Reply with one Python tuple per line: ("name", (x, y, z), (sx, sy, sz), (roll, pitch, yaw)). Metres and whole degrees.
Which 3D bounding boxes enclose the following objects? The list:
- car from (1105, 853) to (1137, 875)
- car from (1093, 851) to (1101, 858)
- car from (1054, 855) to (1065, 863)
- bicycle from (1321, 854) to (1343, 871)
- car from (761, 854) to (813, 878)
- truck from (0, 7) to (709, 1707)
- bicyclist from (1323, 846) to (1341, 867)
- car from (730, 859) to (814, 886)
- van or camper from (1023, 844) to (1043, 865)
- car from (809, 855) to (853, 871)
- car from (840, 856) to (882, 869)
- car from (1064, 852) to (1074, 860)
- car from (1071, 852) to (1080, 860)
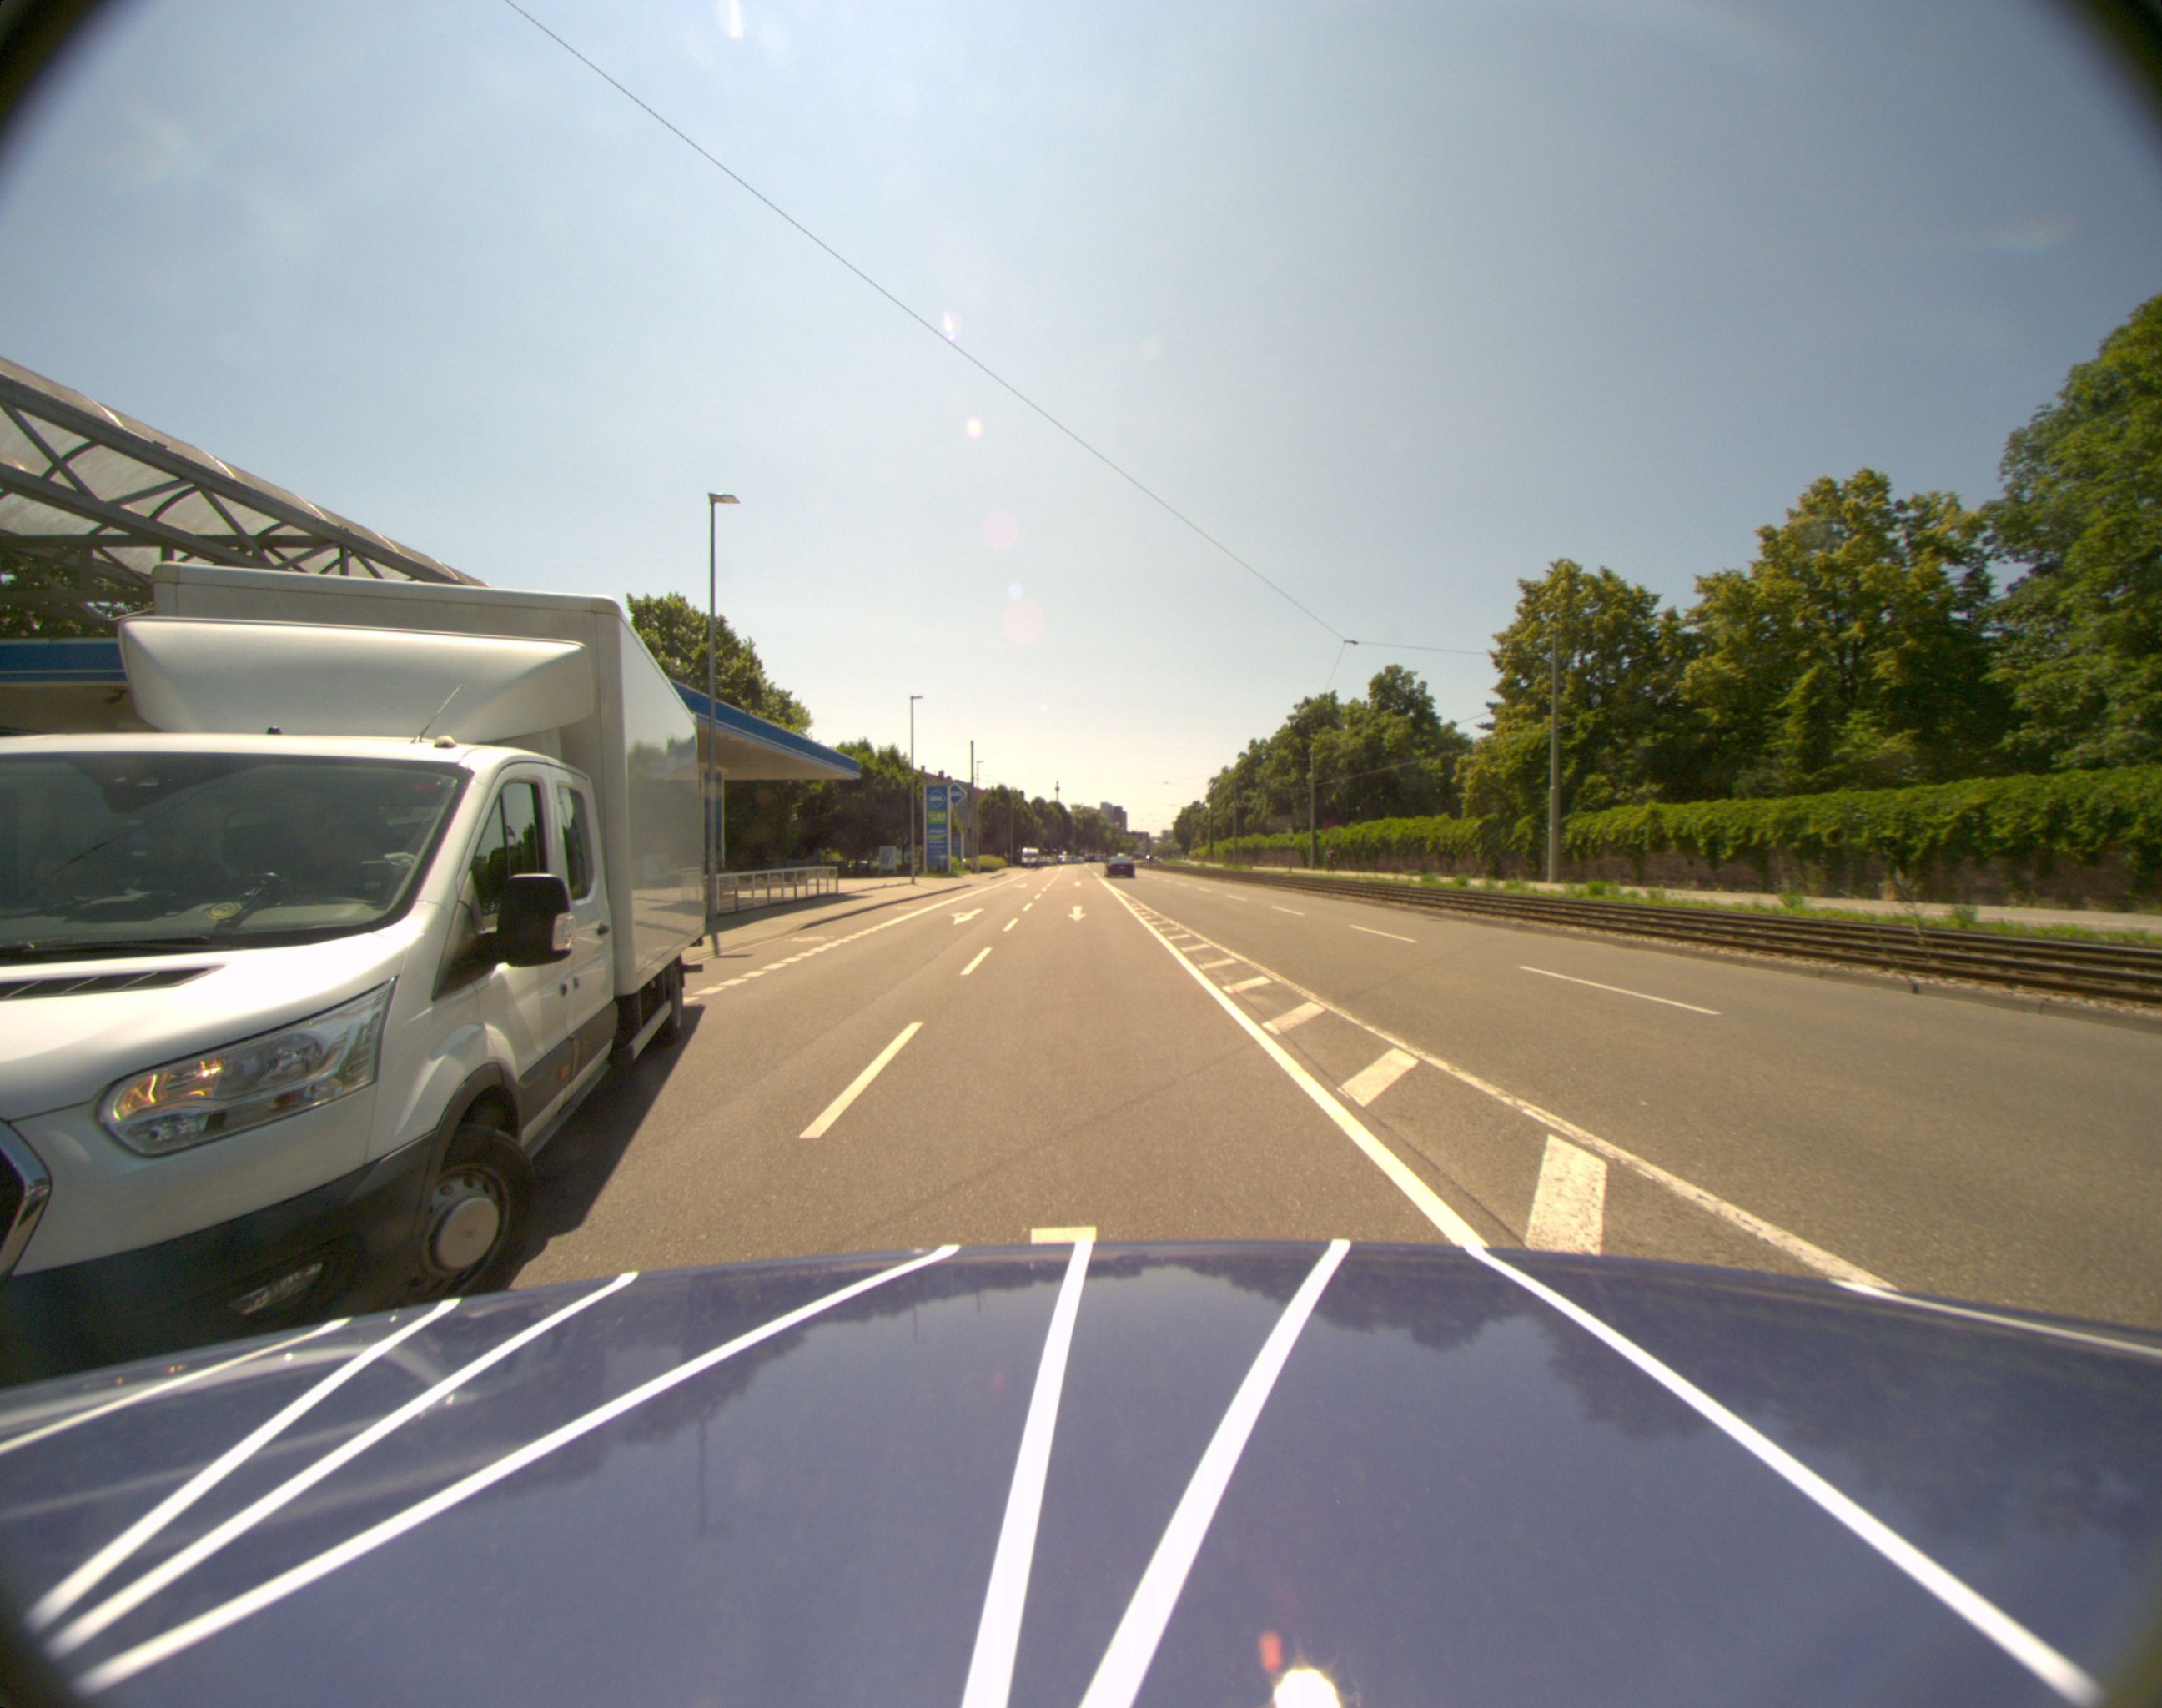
("car", (2.665, 0.671, 51.875), (1.798, 1.391, 4.446), (-1, 0, -2))
("car", (4.048, 0.036, 194.977), (1.998, 1.718, 4.000), (-1, 0, 0))
("car", (-4.048, 0.932, 143.839), (1.725, 1.586, 4.000), (-1, 0, 2))
("bicycle", (17.456, 0.554, 52.873), (0.830, 1.149, 2.686), (-1, 0, 3))
("car", (-22.785, 0.894, 59.117), (1.998, 1.653, 4.411), (-1, 1, 4))
("truck", (-4.161, 0.148, 4.767), (2.430, 3.372, 7.819), (-1, 0, -20))
("bicyclist", (17.418, 0.181, 52.751), (0.997, 1.477, 1.000), (-1, 1, 3))
("car", (-17.895, 1.020, 44.099), (1.714, 1.413, 4.150), (0, 0, 41))
("van or camper", (-5.944, 0.084, 95.011), (2.126, 2.469, 5.992), (2, 0, -1))
("car", (-26.866, 0.949, 81.593), (3.992, 1.677, 2.002), (-1, 0, 14))
("car", (-25.787, 1.009, 89.076), (4.221, 1.512, 2.001), (-1, 0, 7))
("car", (-2.504, 0.434, 155.466), (1.907, 1.707, 4.000), (-1, 0, 0))
("car", (-1.167, 0.393, 163.888), (1.807, 1.585, 4.000), (-1, 0, 0))
